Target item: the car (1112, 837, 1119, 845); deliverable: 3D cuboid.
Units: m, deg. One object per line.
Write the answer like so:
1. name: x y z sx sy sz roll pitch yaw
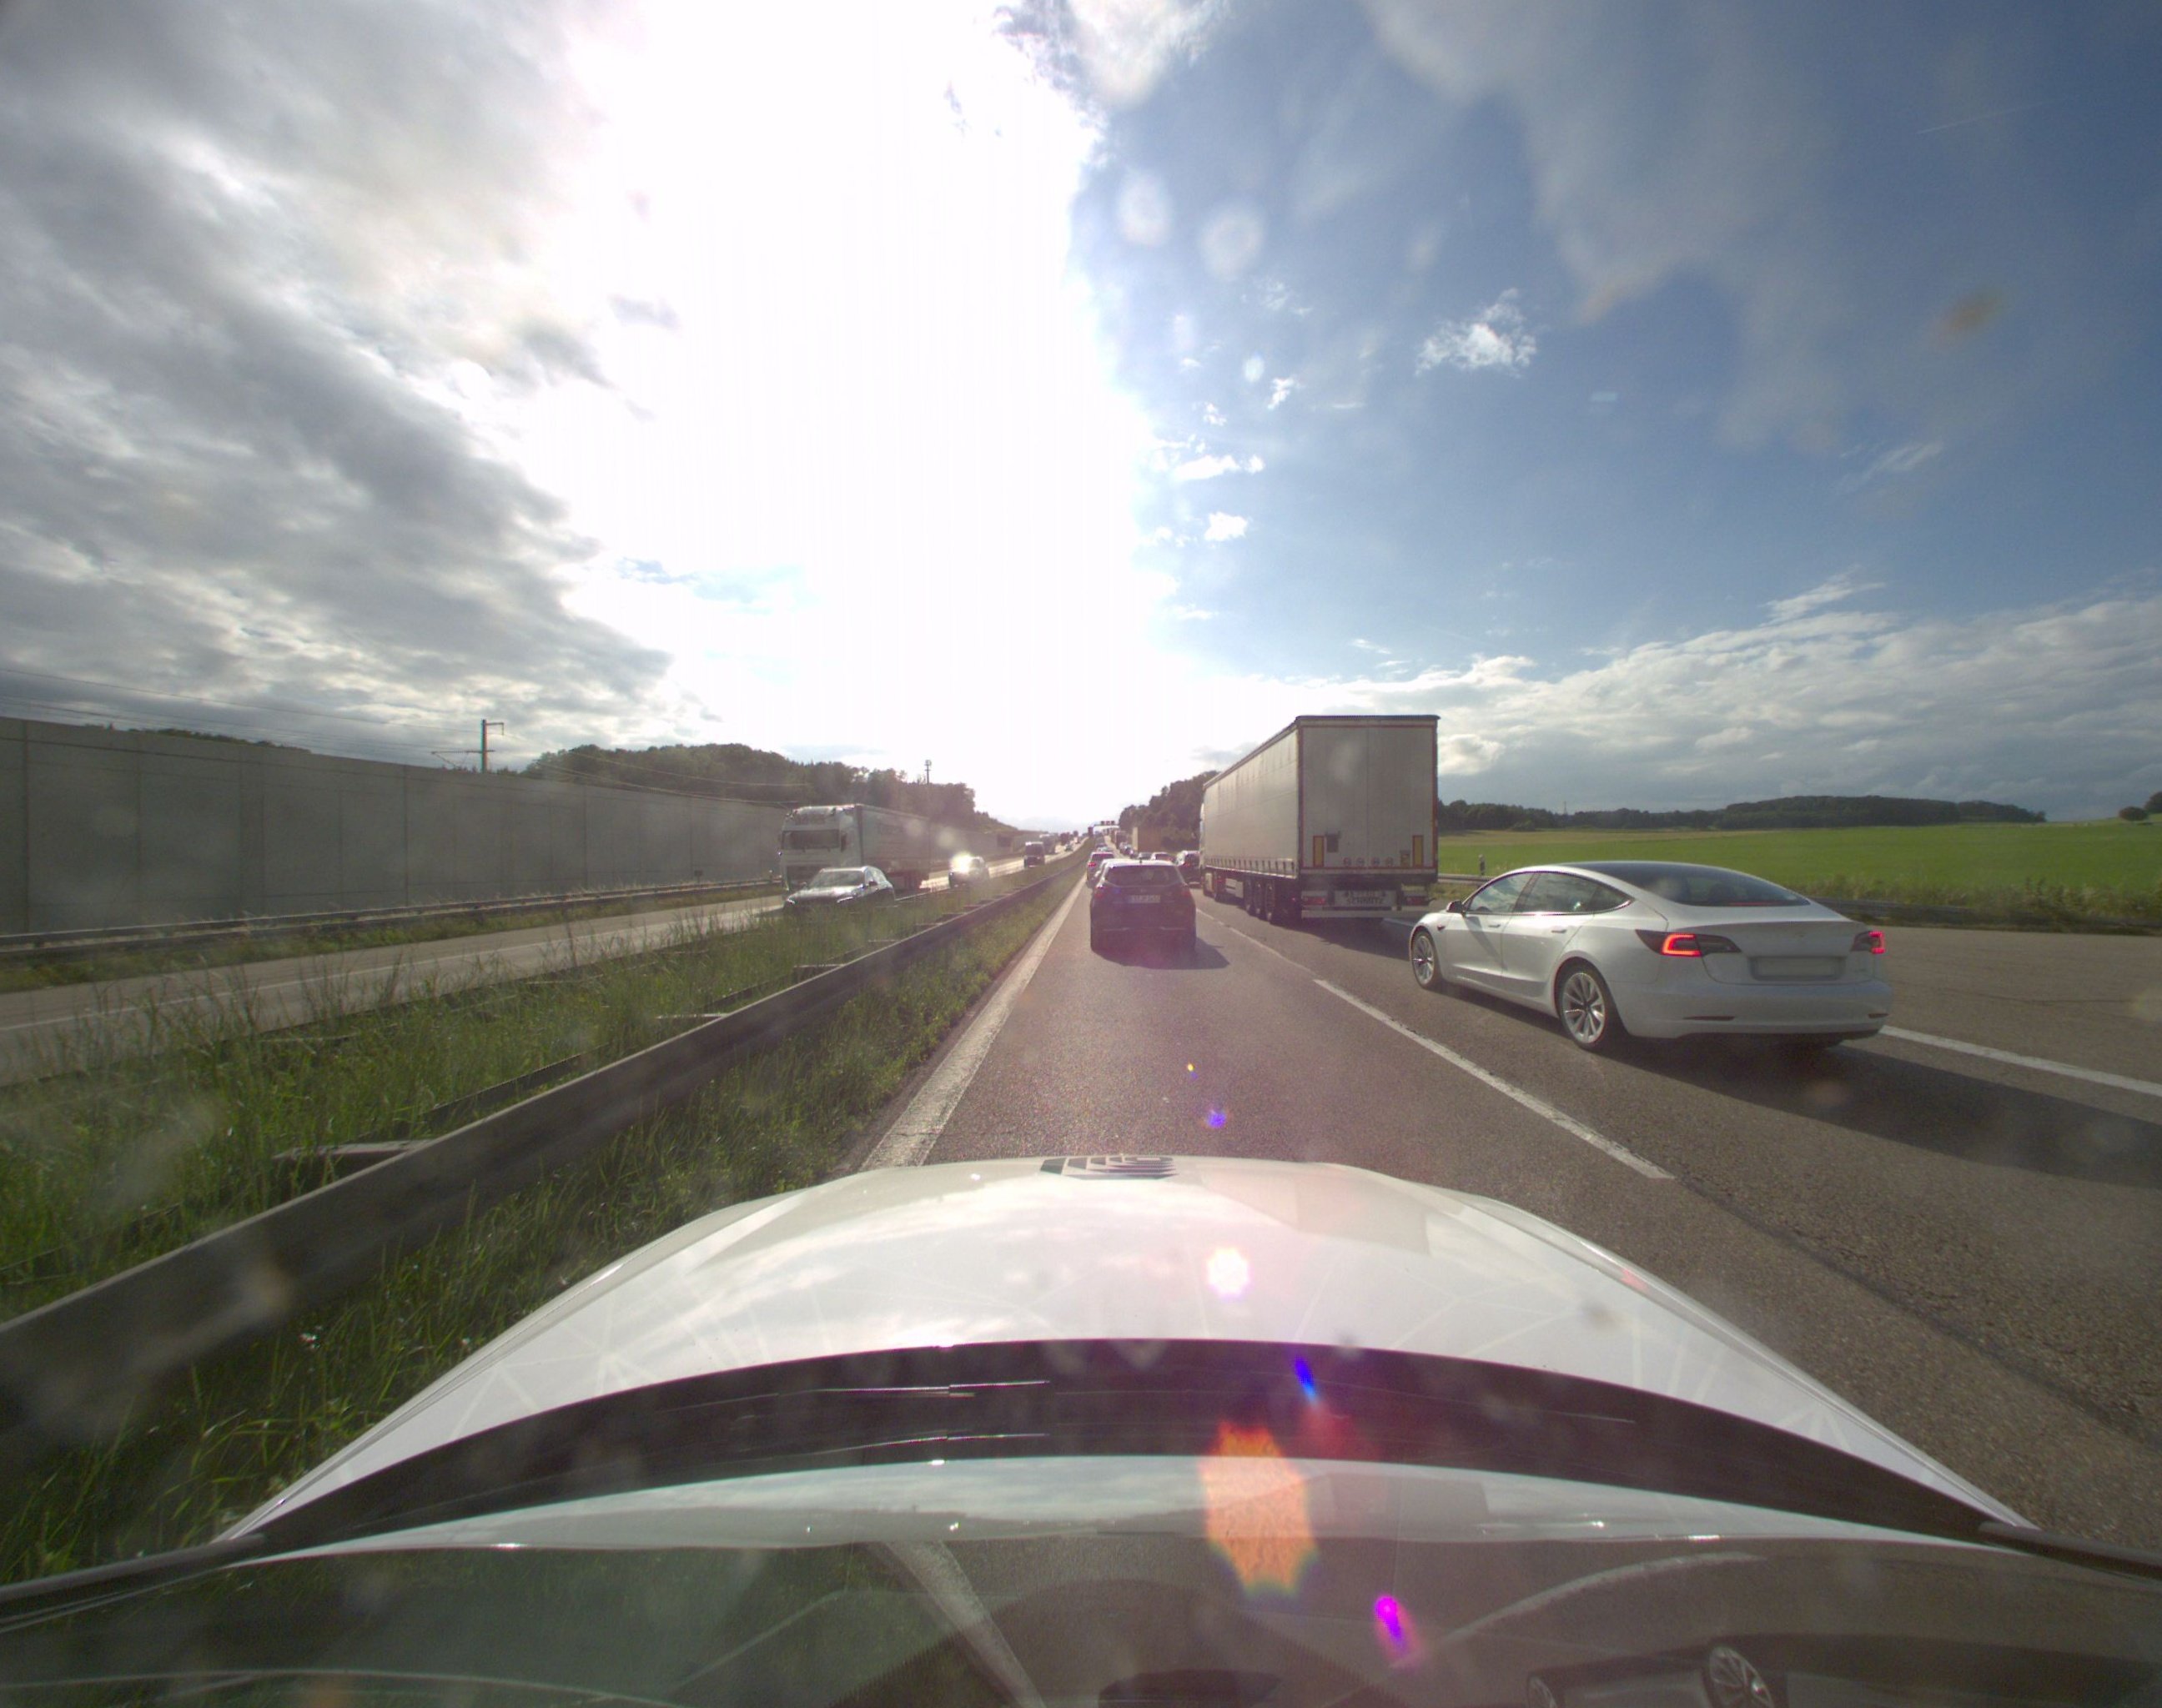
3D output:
1. car: 10.611 -3.912 249.141 1.866 2.158 5.213 -1 2 1

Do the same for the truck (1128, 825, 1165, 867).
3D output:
1. truck: 7.499 -0.764 94.702 3.286 4.577 12.438 0 -1 0

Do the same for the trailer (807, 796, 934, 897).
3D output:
1. trailer: -10.048 -0.249 40.810 2.380 4.182 13.208 -2 -1 2

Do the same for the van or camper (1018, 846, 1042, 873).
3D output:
1. van or camper: -5.606 0.657 90.149 2.082 2.820 5.896 0 -1 1

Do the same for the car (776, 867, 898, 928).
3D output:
1. car: -6.153 1.046 21.069 1.735 1.358 4.233 -1 -1 2

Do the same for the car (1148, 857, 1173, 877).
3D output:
1. car: 6.981 1.106 71.726 1.866 1.644 4.233 -1 -1 2

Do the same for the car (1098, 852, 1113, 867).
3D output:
1. car: 3.167 0.687 104.166 1.866 1.644 4.234 -1 1 2

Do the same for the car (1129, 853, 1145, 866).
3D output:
1. car: 7.253 0.697 105.837 1.867 1.644 4.232 -1 0 1

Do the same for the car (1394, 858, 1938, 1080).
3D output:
1. car: 4.642 0.748 7.483 1.783 1.394 4.435 -1 0 -1

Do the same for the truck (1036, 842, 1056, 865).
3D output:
1. truck: -7.350 -0.039 171.169 3.285 4.577 12.443 -1 0 1

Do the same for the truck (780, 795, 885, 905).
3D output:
1. truck: -10.265 -0.125 34.278 2.372 4.181 5.933 -2 -1 1

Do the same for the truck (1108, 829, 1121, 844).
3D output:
1. truck: 10.884 -5.658 265.453 3.453 4.577 12.440 0 1 0

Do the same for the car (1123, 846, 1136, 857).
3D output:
1. car: 8.122 -0.434 137.226 1.868 1.644 4.229 -1 1 -2

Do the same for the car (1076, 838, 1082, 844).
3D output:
1. car: -0.646 -4.111 260.638 1.737 1.705 4.234 0 0 2

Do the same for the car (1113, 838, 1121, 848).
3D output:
1. car: 8.532 -2.577 194.293 1.866 2.158 5.213 -1 2 1

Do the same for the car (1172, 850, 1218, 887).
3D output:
1. car: 5.320 0.651 38.521 1.691 1.611 4.439 -1 -1 3

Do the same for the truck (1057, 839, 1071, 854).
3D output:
1. truck: -5.150 -2.308 251.886 3.283 4.554 12.451 -1 0 3

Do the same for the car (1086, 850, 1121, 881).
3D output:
1. car: 1.313 0.667 46.947 1.866 1.644 4.233 -1 -1 2

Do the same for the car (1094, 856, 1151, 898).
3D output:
1. car: 1.436 0.778 29.250 1.866 1.358 4.233 -1 -1 2

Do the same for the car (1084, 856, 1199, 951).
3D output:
1. car: 1.007 0.797 14.890 1.766 1.451 4.233 -1 -1 2

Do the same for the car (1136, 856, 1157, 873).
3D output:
1. car: 6.569 1.004 81.882 1.866 1.644 4.234 -1 0 2

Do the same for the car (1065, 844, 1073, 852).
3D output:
1. car: -2.703 -1.354 185.713 1.738 1.706 4.231 -1 -1 0

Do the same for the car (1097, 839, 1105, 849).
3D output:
1. car: 4.610 -2.348 188.037 1.866 2.158 5.213 -1 2 1

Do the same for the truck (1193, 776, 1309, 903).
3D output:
1. truck: 5.755 -0.400 28.483 3.122 4.016 5.165 -1 -1 2

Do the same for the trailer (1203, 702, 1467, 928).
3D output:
1. trailer: 5.509 -0.547 21.184 3.118 4.011 13.371 -1 -1 2

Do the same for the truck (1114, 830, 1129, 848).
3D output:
1. truck: 10.764 -3.993 219.762 3.453 4.577 12.440 0 1 0

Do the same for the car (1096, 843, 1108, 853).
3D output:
1. car: 3.685 -0.995 143.466 1.867 1.644 4.232 -1 1 0

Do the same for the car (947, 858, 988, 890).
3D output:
1. car: -6.356 1.113 45.984 1.702 1.706 4.173 -1 -1 1
